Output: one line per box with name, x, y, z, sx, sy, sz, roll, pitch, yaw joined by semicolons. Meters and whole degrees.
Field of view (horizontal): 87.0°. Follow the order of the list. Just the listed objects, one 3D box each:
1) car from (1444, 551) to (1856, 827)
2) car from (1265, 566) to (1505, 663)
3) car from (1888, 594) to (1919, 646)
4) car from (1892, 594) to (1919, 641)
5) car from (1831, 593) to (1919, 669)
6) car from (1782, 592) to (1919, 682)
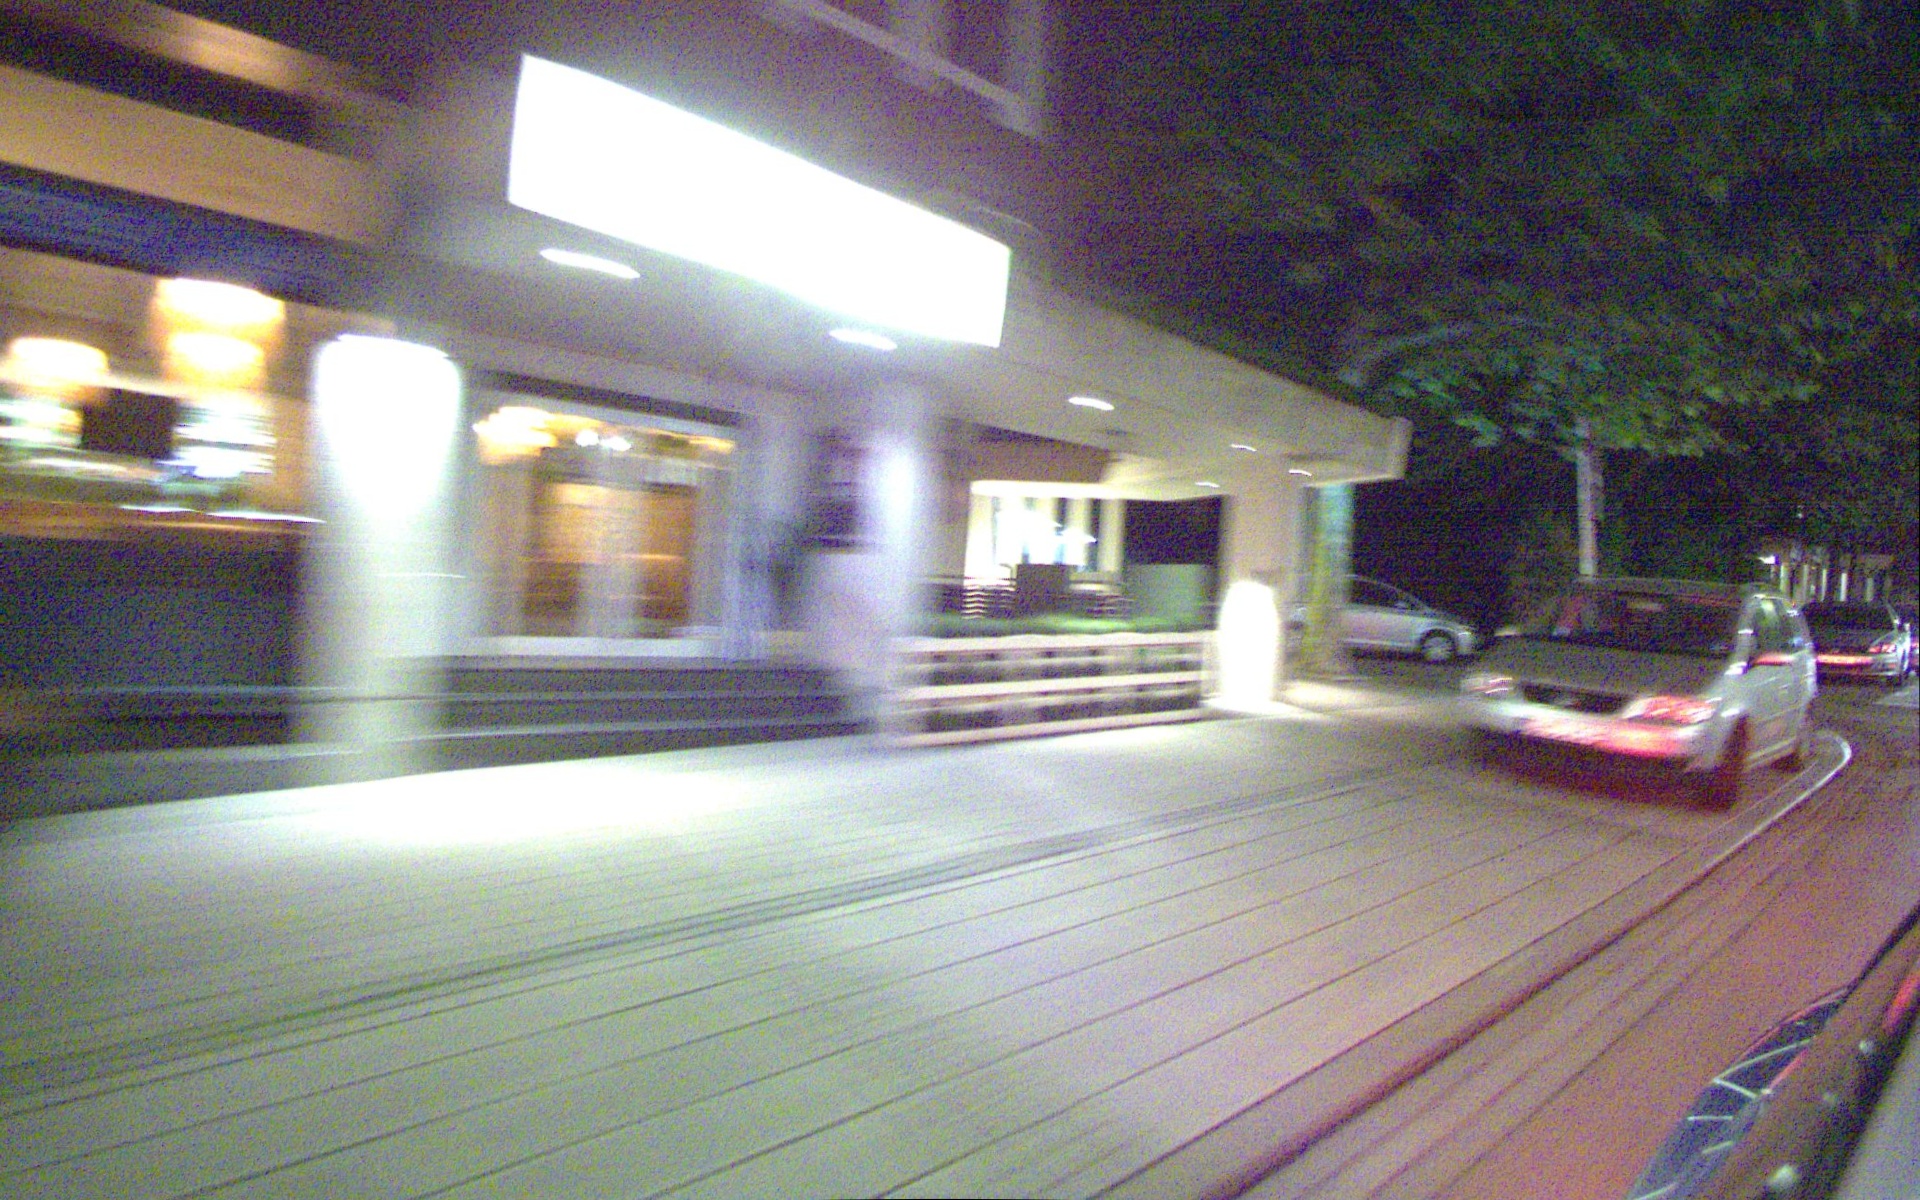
car;5.896;0.528;8.425;4.304;1.661;1.790;0;4;-42
car;7.997;0.206;19.457;4.014;1.605;1.698;3;2;17
car;28.735;0.571;29.890;4.368;1.433;1.763;0;2;-45
car;32.092;0.555;33.455;3.713;1.485;1.640;0;1;-44
car;20.278;0.609;21.775;4.530;1.465;1.680;0;1;-41
car;16.736;0.597;18.821;4.219;1.455;1.781;0;1;-44
